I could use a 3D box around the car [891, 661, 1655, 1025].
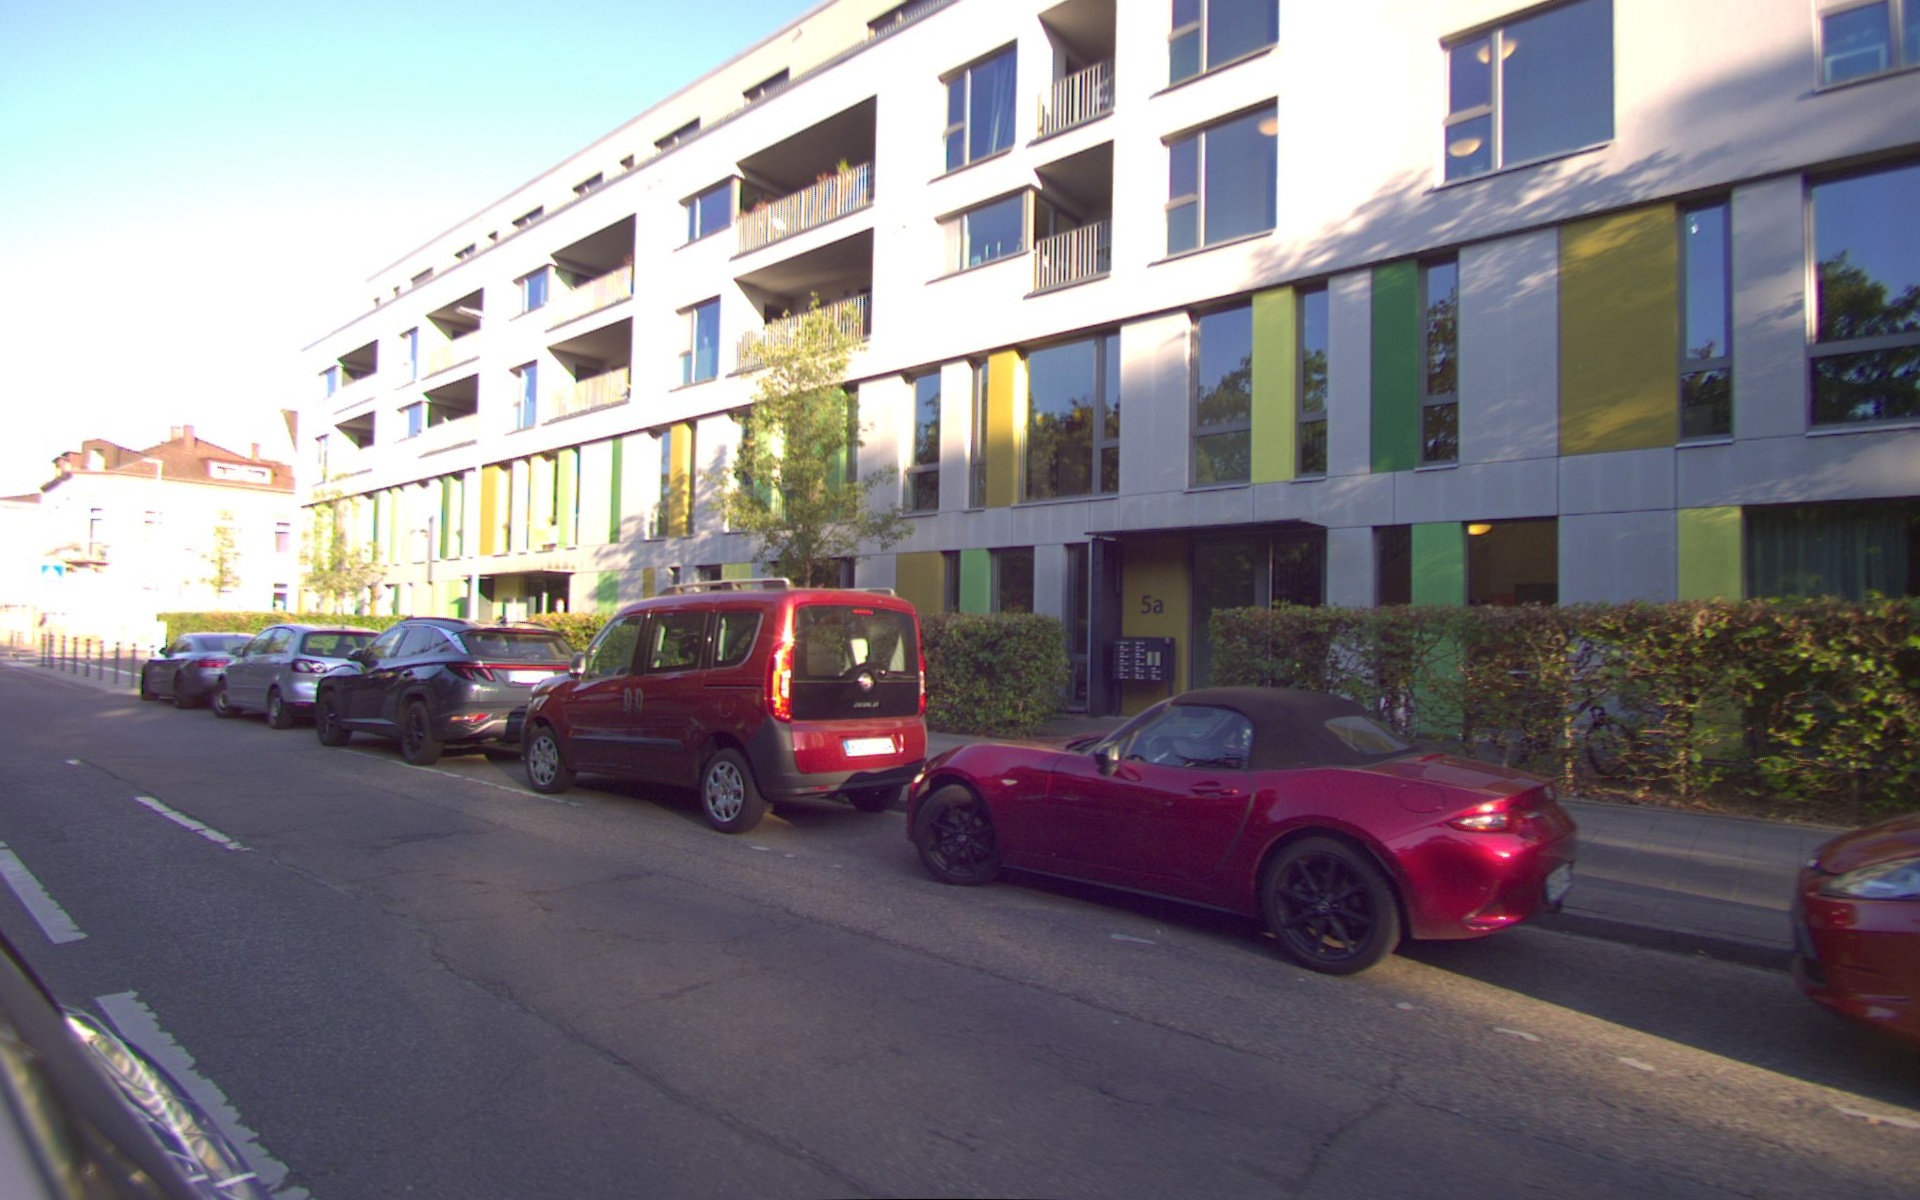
[{"bbox_3d":[1.503,1.030,5.602,3.730,1.290,1.540,-2,-5,40],"label":"car"}]

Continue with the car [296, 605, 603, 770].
[{"bbox_3d":[-6.411,1.000,12.497,4.413,1.689,1.724,-2,-5,40],"label":"car"}]

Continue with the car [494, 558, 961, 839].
[{"bbox_3d":[-2.199,0.771,8.955,4.234,1.904,1.789,-2,-5,40],"label":"car"}]

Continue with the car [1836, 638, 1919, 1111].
[{"bbox_3d":[4.866,0.856,2.621,3.858,1.466,1.582,-1,-3,40],"label":"car"}]

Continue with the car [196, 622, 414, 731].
[{"bbox_3d":[-10.619,1.158,16.315,4.111,1.545,1.725,-1,-3,39],"label":"car"}]

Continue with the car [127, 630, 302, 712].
[{"bbox_3d":[-14.346,1.302,19.387,4.394,1.367,1.724,-1,-4,41],"label":"car"}]

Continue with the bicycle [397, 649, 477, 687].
[{"bbox_3d":[-13.629,1.758,26.415,0.617,0.925,1.734,-1,-2,39],"label":"bicycle"}]
